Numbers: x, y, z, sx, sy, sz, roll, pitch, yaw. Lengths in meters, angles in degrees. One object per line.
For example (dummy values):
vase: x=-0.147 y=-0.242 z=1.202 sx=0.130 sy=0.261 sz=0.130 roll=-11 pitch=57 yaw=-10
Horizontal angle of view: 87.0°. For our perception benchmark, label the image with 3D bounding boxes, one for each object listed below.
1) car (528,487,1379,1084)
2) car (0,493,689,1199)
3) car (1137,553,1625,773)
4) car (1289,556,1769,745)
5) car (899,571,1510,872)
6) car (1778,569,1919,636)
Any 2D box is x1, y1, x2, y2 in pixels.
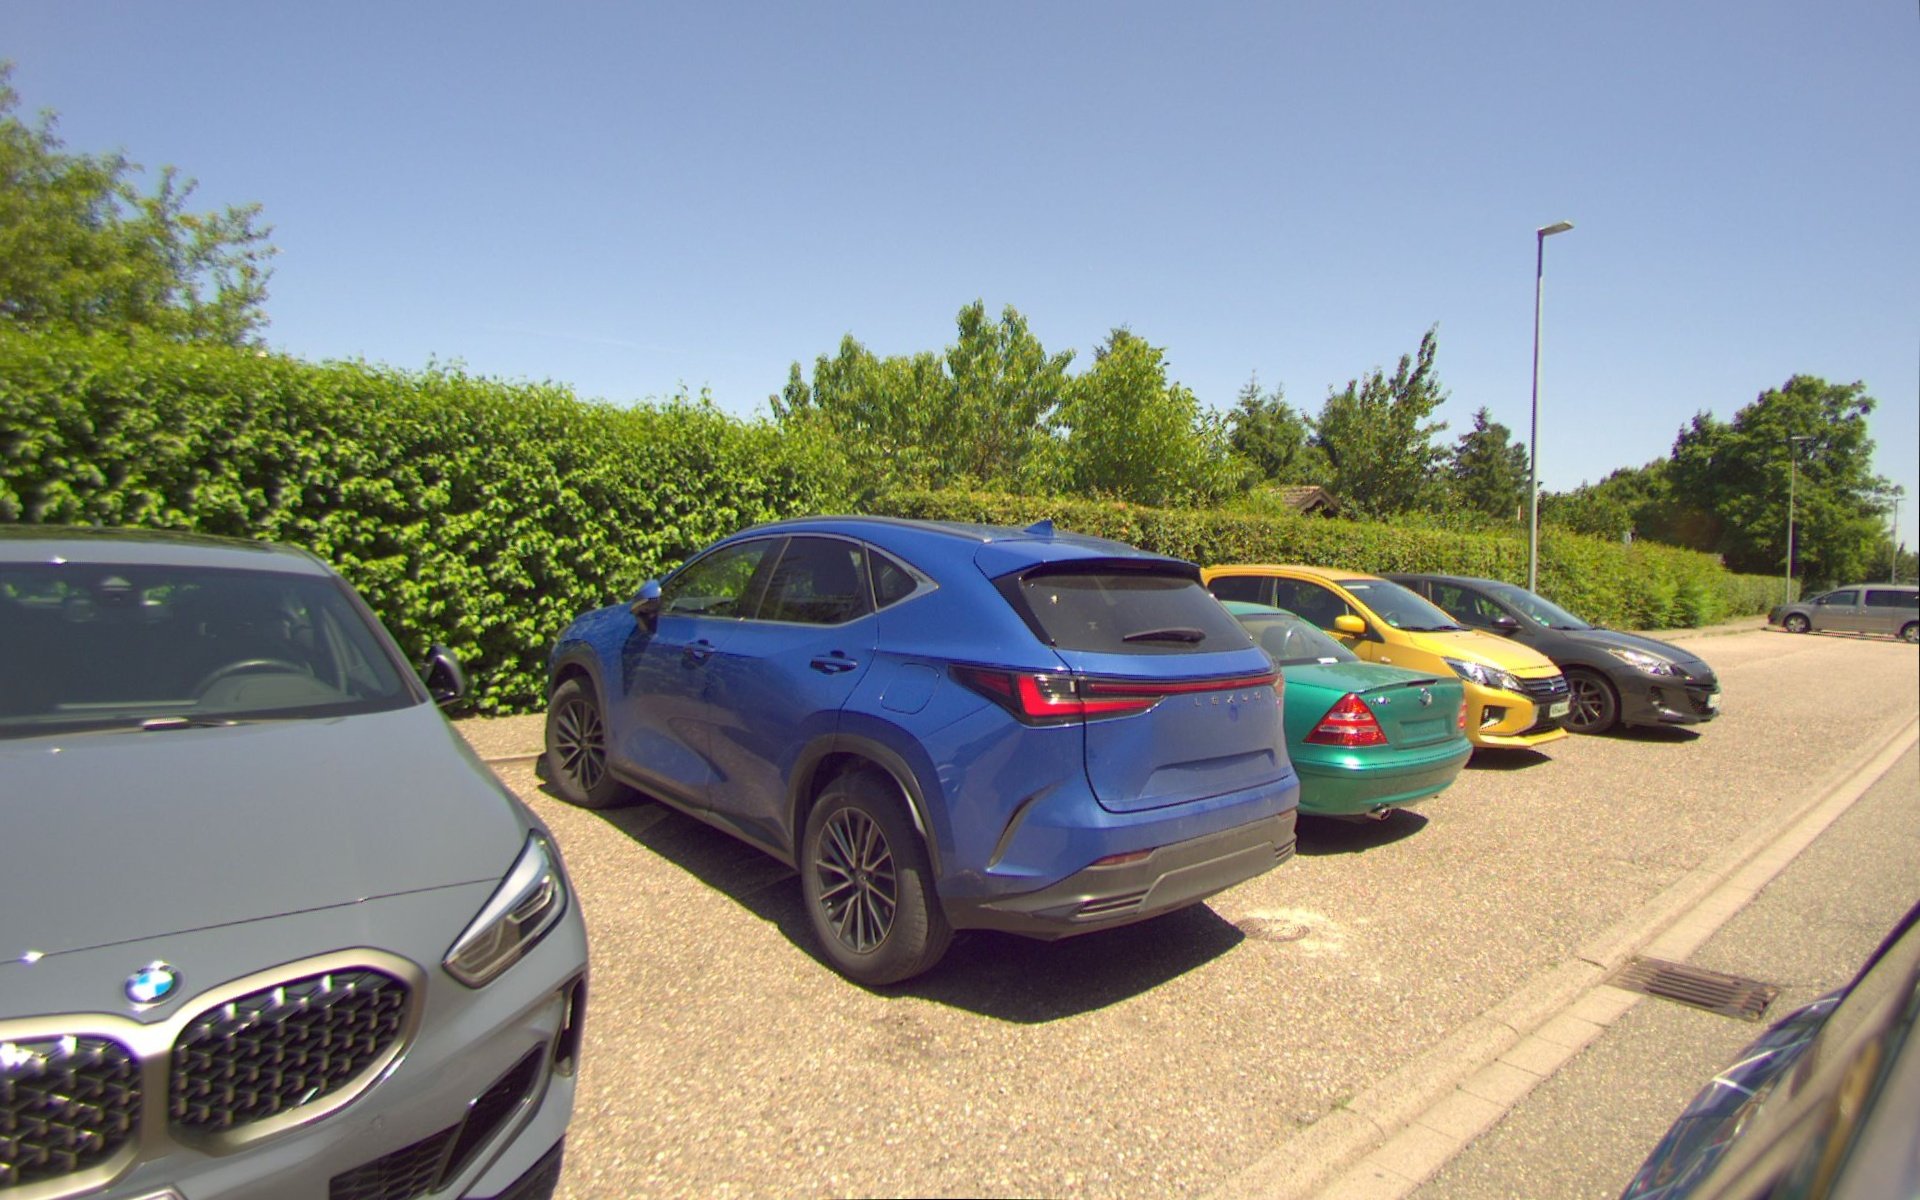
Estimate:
car: x=-0.458 y=0.371 z=4.966 sx=1.792 sy=1.653 sz=4.246 roll=-1 pitch=4 yaw=-42
car: x=-2.631 y=0.423 z=3.105 sx=1.784 sy=1.456 sz=4.139 roll=-1 pitch=5 yaw=-42
car: x=3.686 y=0.383 z=9.460 sx=1.742 sy=1.472 sz=3.815 roll=-1 pitch=5 yaw=-37
car: x=6.003 y=0.361 z=11.090 sx=1.851 sy=1.513 sz=4.172 roll=-1 pitch=5 yaw=-42
car: x=1.393 y=0.559 z=6.864 sx=1.600 sy=1.283 sz=3.742 roll=1 pitch=4 yaw=-42
car: x=30.295 y=0.087 z=33.546 sx=1.962 sy=1.870 sz=4.630 roll=0 pitch=5 yaw=-43
